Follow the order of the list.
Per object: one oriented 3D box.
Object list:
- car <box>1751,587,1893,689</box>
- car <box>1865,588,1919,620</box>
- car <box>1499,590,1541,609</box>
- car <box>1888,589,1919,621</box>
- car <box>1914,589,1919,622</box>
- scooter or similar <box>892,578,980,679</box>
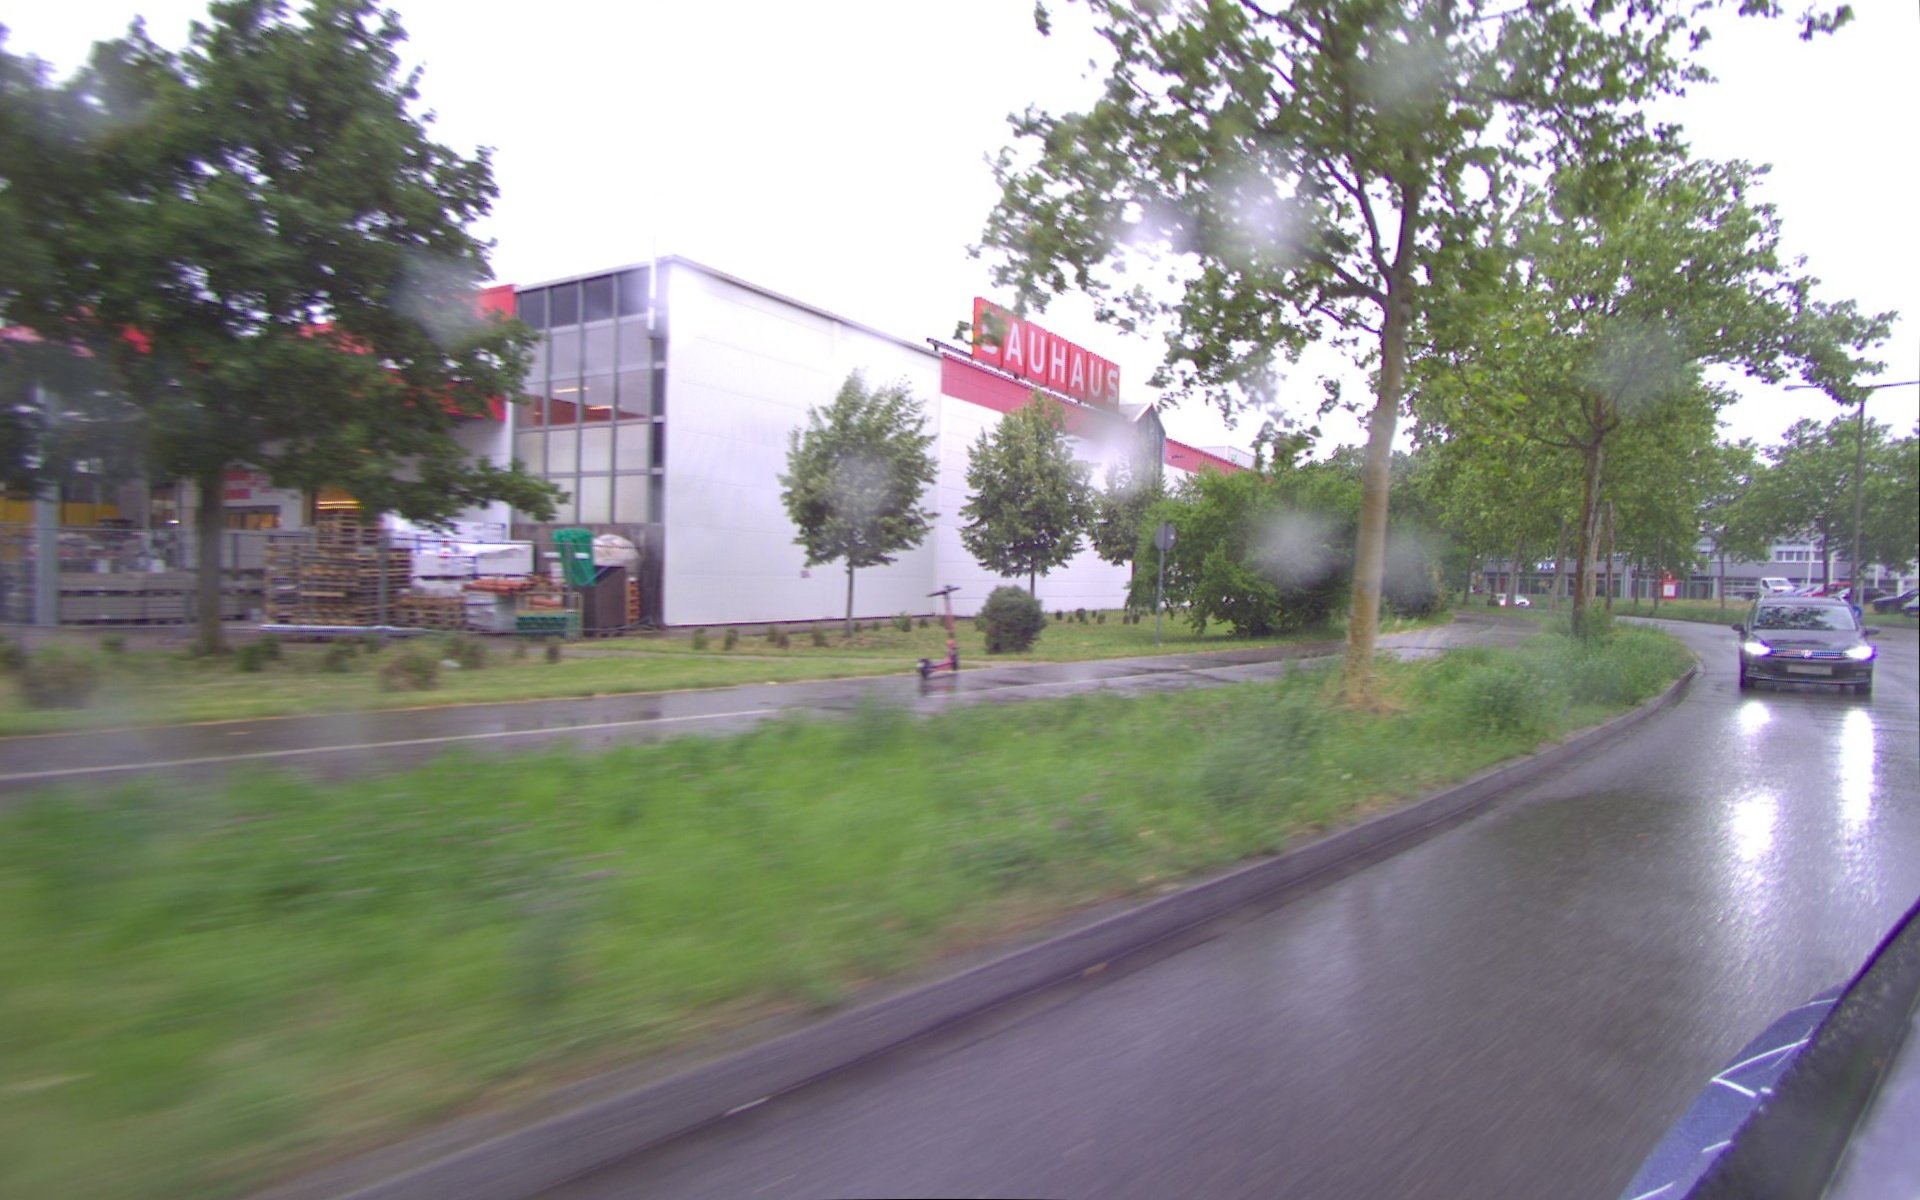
[{"bbox_3d":[15.706,0.612,18.586,1.781,1.635,4.650,0,0,39],"label":"car"},{"bbox_3d":[51.535,0.225,54.330,3.944,1.681,1.856,0,0,16],"label":"car"},{"bbox_3d":[52.697,-0.065,95.339,1.965,1.671,3.994,1,1,6],"label":"car"},{"bbox_3d":[51.058,0.245,52.448,3.944,1.681,1.856,0,0,16],"label":"car"},{"bbox_3d":[50.583,0.267,50.454,3.944,1.681,1.856,0,0,16],"label":"car"},{"bbox_3d":[-0.300,0.358,13.857,0.447,1.290,1.584,1,1,29],"label":"scooter or similar"}]
